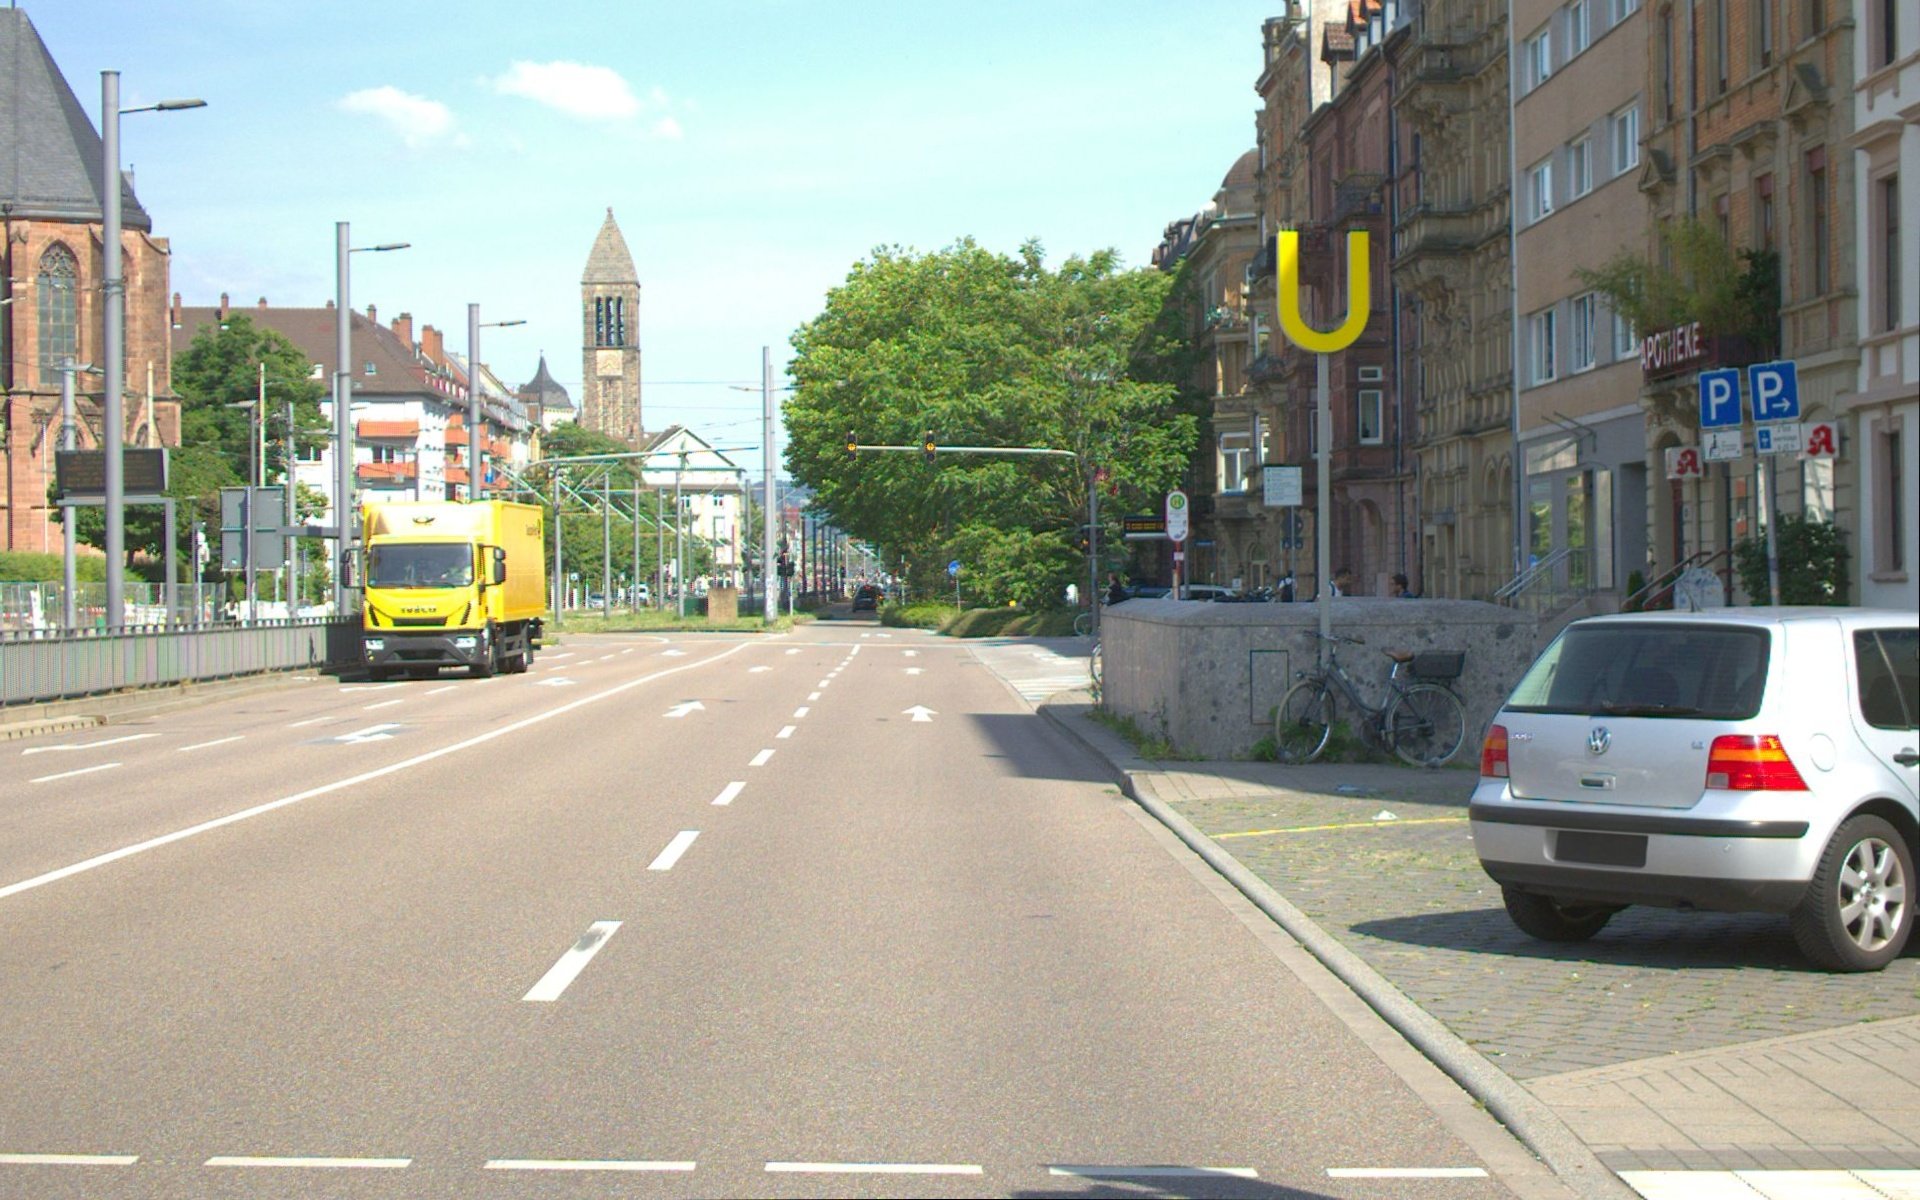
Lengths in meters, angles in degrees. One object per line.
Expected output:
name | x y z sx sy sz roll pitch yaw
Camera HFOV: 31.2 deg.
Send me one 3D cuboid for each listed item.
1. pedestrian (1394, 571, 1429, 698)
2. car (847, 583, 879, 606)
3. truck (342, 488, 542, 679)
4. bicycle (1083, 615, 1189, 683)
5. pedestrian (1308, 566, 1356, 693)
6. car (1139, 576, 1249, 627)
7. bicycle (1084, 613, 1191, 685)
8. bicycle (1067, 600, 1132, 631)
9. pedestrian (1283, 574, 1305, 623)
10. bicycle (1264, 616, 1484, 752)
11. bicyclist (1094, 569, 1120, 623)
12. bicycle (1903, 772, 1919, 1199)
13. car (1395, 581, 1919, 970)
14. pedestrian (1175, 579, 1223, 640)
pedestrian | 5.910 0.448 45.013 0.371 1.660 0.525 -1 0 -1
car | -6.089 -0.344 215.981 1.899 1.371 3.816 -1 0 -3
truck | -9.811 -0.305 66.004 2.543 3.287 9.029 -3 0 -1
bicycle | 2.489 0.698 48.728 1.460 0.943 0.415 -1 -1 -1
pedestrian | 4.881 0.383 45.168 0.553 1.660 0.525 -1 0 -1
car | 8.723 0.047 128.166 3.987 1.743 2.000 -1 3 1
bicycle | 2.490 0.689 48.281 1.460 0.972 0.415 -1 3 -1
bicycle | 4.105 0.459 101.156 1.818 0.860 0.483 0 3 -16
pedestrian | 9.729 -0.035 100.169 0.532 1.402 0.491 -1 3 -7
bicycle | 3.440 0.691 28.646 1.742 1.090 0.597 -1 1 -1
bicyclist | 4.321 -0.121 101.194 0.639 1.586 0.483 0 2 -16
bicycle | 2.756 0.901 6.495 1.790 1.126 0.584 0 0 -7
car | 3.933 0.696 14.852 3.988 1.435 1.813 2 0 -40
pedestrian | 5.282 0.206 75.980 0.947 1.320 0.823 -1 0 -3
